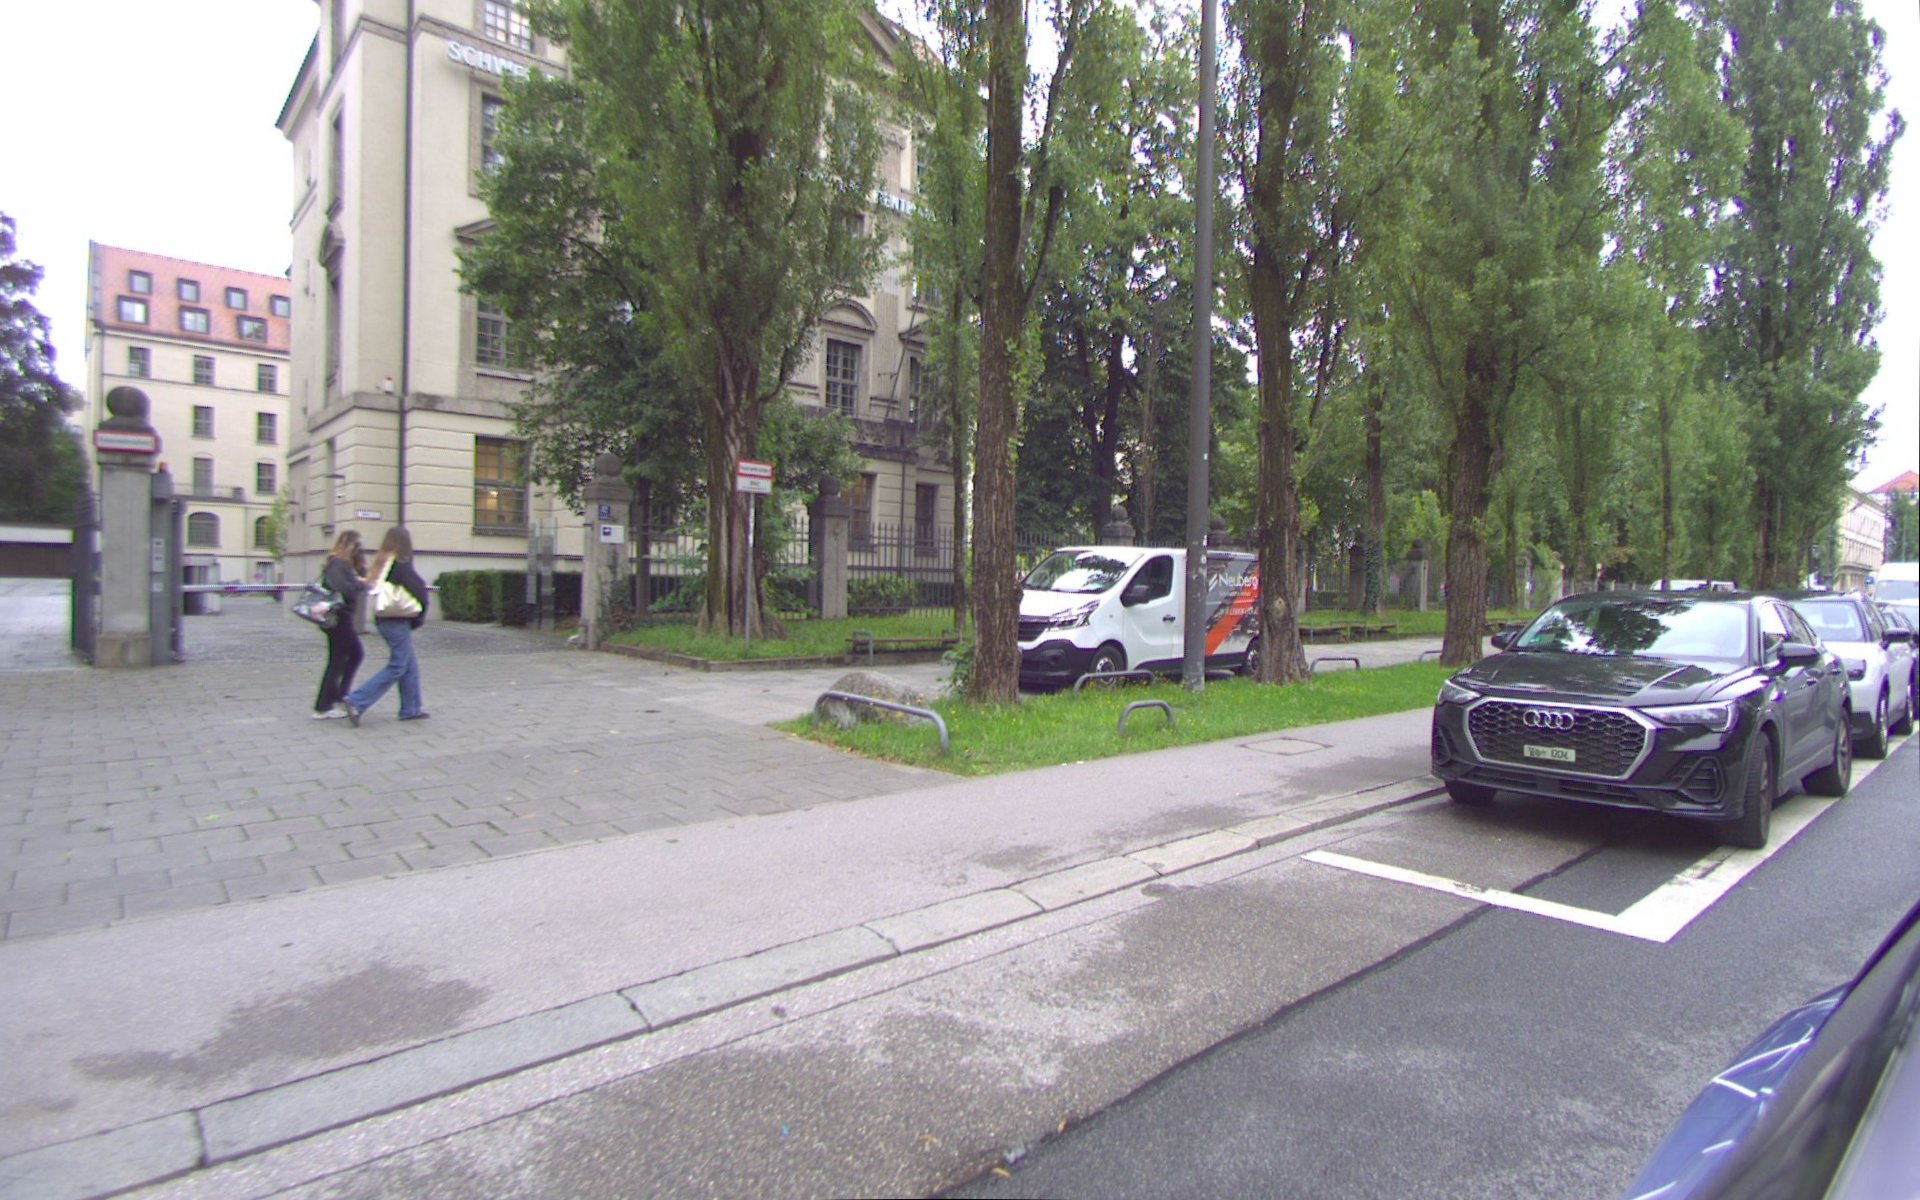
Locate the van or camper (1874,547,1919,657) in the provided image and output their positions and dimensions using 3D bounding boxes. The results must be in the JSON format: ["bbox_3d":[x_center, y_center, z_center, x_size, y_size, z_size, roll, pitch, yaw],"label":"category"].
[{"bbox_3d":[25.033,0.055,25.599,6.306,2.572,2.142,0,1,-42],"label":"van or camper"}]

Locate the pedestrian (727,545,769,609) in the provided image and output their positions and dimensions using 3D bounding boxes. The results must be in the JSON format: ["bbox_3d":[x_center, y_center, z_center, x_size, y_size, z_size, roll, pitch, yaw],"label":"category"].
[{"bbox_3d":[-6.013,-0.652,28.682,0.879,1.790,0.797,0,1,-38],"label":"pedestrian"}]

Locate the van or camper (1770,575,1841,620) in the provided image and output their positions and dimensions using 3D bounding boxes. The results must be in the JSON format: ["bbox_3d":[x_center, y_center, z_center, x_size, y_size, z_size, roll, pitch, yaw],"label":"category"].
[{"bbox_3d":[40.187,-0.114,48.064,4.902,2.039,2.005,0,0,-43],"label":"van or camper"}]

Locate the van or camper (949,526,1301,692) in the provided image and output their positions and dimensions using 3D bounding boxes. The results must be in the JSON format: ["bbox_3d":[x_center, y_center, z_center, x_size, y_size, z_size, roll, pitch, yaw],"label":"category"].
[{"bbox_3d":[2.521,0.099,14.434,5.274,1.958,2.080,0,0,-41],"label":"van or camper"}]

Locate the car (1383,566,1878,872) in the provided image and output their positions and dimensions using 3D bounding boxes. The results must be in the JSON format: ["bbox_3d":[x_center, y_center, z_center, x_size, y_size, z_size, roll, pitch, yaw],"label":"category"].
[{"bbox_3d":[5.040,0.595,7.344,4.386,1.560,1.884,0,1,-41],"label":"car"}]

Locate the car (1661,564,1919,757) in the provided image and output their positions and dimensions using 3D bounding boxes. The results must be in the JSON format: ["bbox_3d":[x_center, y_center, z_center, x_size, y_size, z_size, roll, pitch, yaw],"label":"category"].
[{"bbox_3d":[9.363,0.522,11.093,4.500,1.696,1.746,0,1,-42],"label":"car"}]

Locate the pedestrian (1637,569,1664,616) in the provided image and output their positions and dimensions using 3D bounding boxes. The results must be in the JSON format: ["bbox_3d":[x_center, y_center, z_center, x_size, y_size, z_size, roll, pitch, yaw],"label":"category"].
[{"bbox_3d":[30.820,-0.344,45.167,0.898,2.038,0.946,2,1,33],"label":"pedestrian"}]

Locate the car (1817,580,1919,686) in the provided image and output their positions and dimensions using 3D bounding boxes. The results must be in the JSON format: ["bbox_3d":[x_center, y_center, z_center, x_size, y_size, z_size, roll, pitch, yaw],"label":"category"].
[{"bbox_3d":[16.493,0.527,17.613,4.557,1.638,1.787,0,1,-42],"label":"car"}]

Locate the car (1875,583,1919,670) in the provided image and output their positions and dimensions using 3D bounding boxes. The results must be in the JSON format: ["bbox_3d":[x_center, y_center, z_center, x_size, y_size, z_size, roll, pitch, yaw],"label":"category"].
[{"bbox_3d":[20.394,0.534,20.980,4.344,1.669,1.786,0,1,-44],"label":"car"}]

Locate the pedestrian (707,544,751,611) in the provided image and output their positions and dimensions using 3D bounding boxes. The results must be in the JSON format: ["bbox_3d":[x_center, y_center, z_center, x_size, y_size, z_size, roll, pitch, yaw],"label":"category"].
[{"bbox_3d":[-6.276,-0.618,27.500,0.879,1.790,0.797,0,1,-38],"label":"pedestrian"}]

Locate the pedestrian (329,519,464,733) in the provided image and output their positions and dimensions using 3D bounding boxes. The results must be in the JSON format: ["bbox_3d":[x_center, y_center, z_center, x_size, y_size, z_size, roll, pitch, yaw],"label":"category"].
[{"bbox_3d":[-4.918,0.188,8.824,0.852,1.738,0.855,0,2,-42],"label":"pedestrian"}]

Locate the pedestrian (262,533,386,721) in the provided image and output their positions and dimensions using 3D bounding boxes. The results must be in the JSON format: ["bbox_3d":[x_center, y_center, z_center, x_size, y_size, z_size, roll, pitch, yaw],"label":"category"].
[{"bbox_3d":[-5.715,0.220,9.094,0.852,1.598,0.568,0,1,-42],"label":"pedestrian"}]

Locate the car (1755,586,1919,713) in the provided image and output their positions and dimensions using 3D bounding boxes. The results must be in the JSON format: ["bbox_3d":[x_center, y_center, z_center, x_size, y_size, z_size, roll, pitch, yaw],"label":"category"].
[{"bbox_3d":[12.885,0.606,14.428,4.221,1.539,1.705,0,1,-42],"label":"car"}]

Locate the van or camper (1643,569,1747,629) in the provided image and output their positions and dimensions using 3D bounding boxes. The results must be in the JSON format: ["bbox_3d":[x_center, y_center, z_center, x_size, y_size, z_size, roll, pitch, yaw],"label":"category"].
[{"bbox_3d":[25.787,-0.045,35.441,4.952,1.958,1.978,0,0,-42],"label":"van or camper"}]
